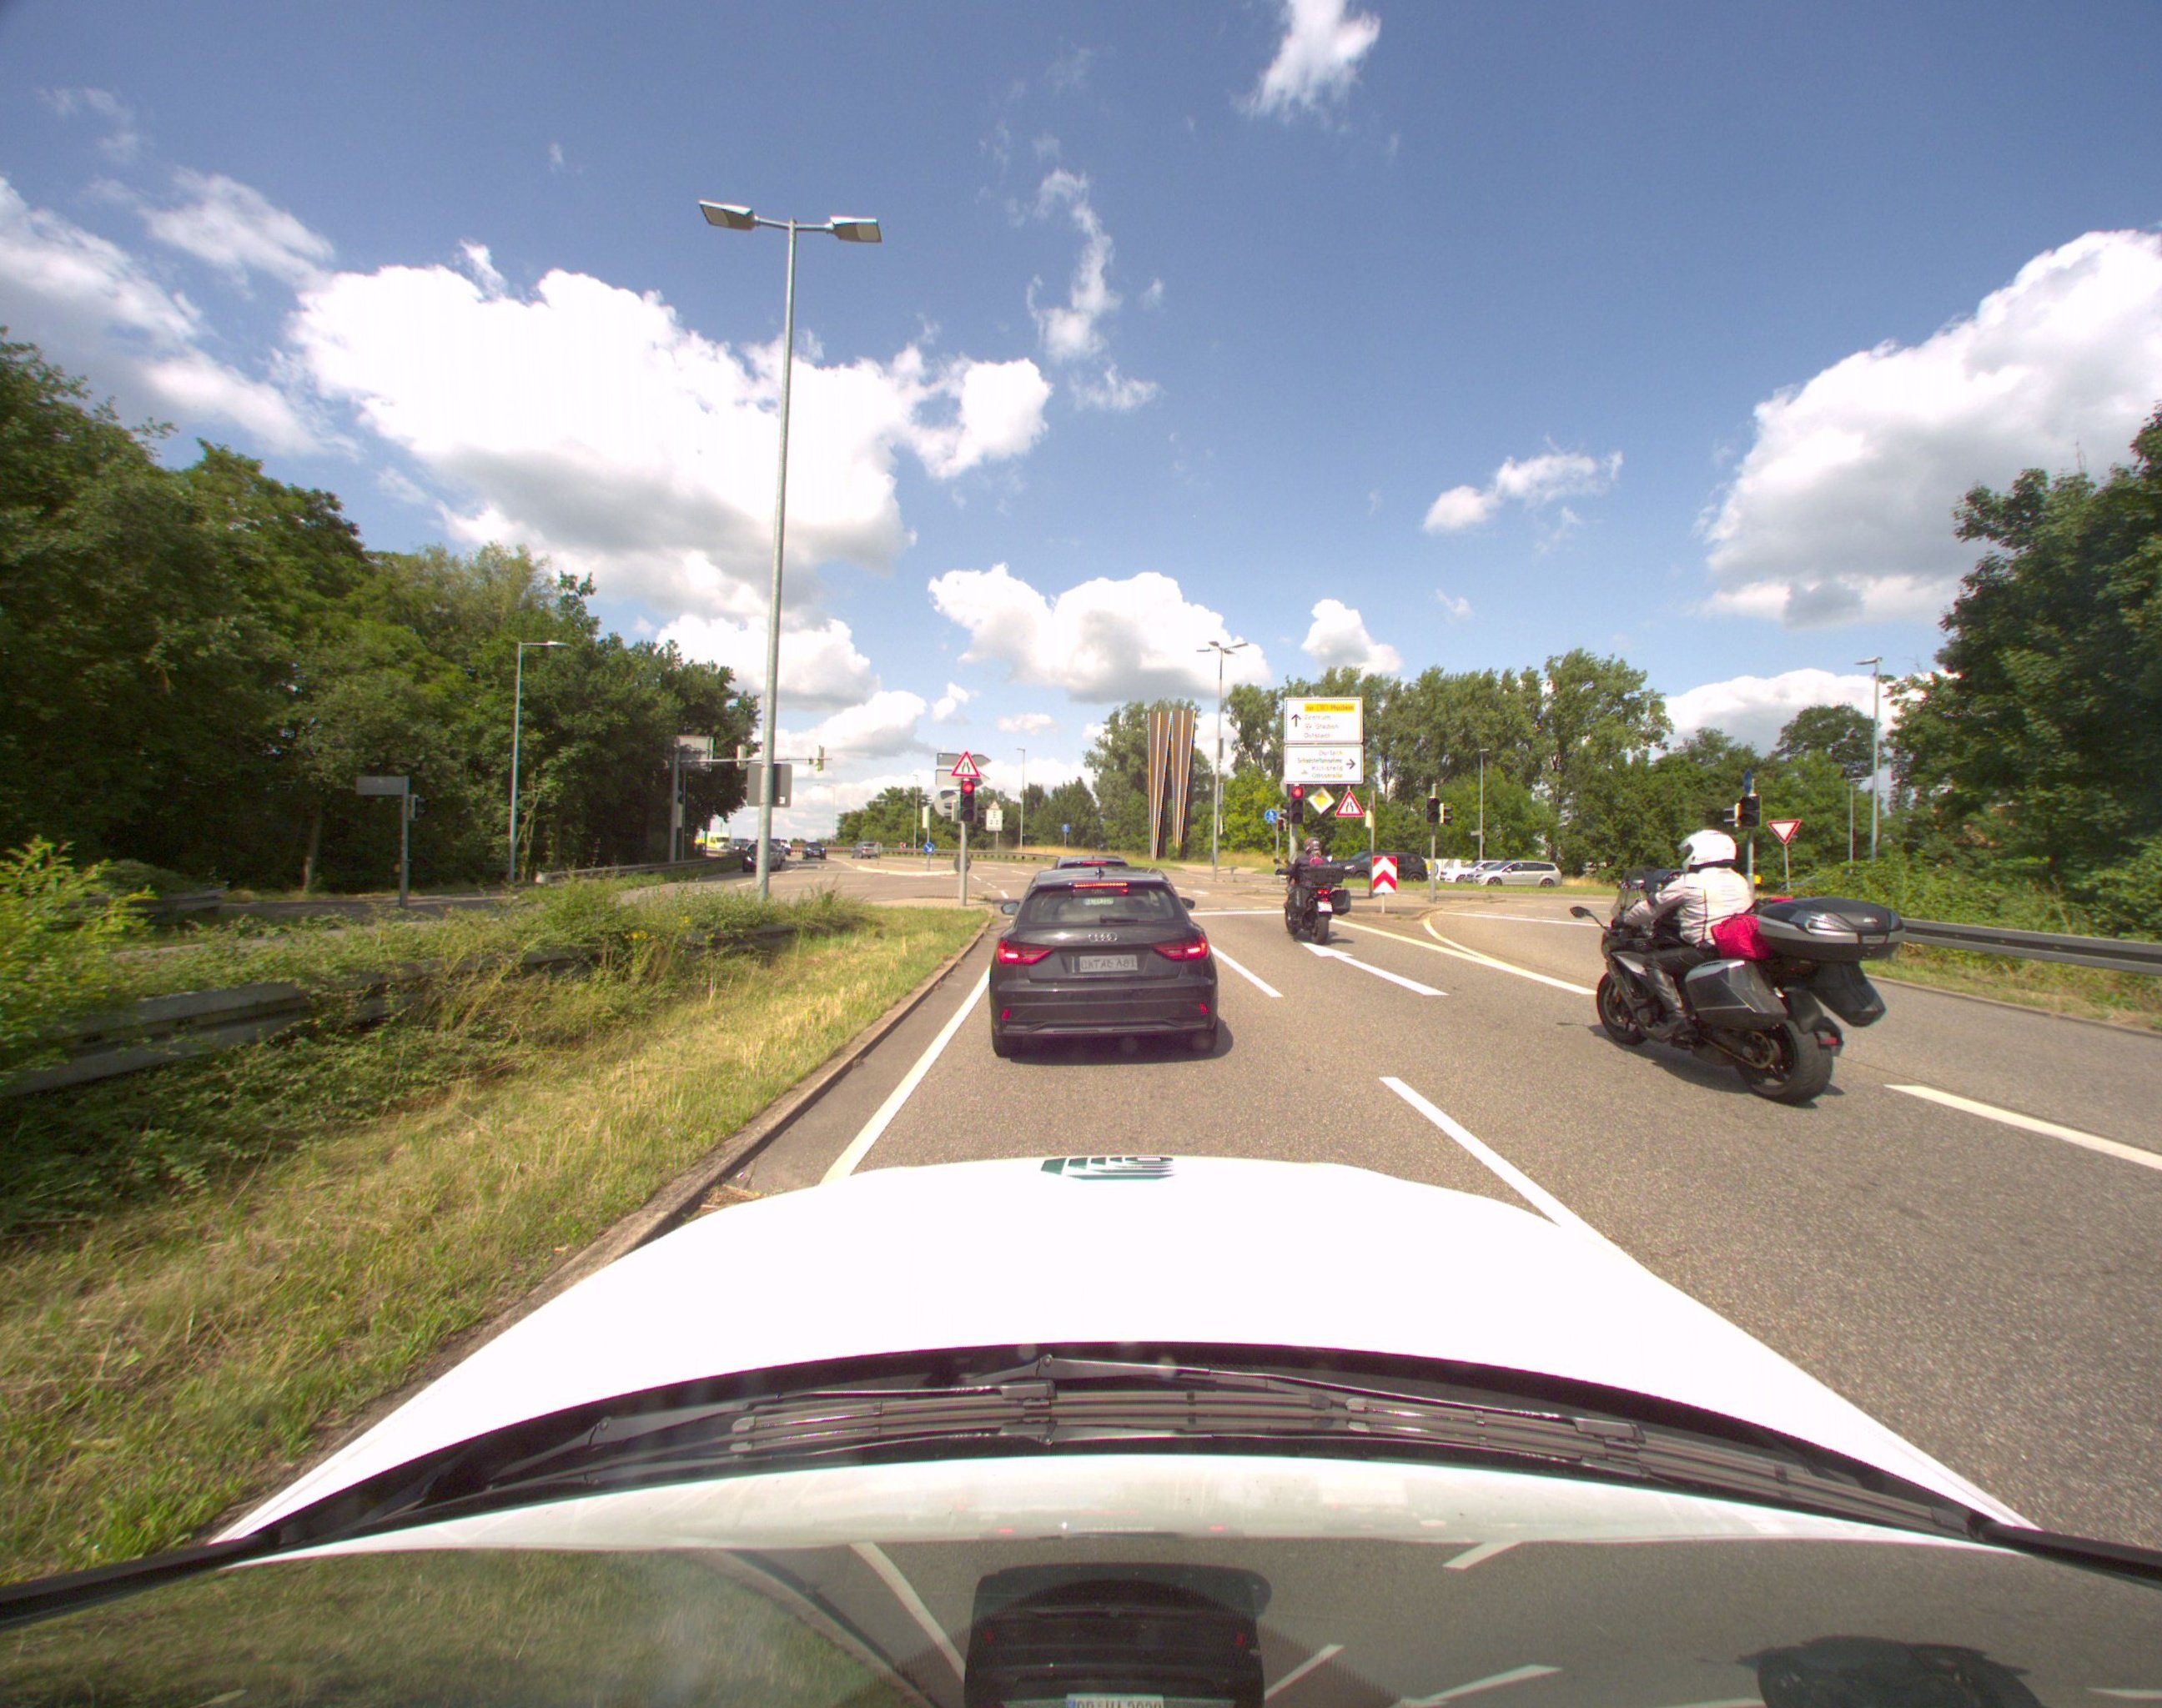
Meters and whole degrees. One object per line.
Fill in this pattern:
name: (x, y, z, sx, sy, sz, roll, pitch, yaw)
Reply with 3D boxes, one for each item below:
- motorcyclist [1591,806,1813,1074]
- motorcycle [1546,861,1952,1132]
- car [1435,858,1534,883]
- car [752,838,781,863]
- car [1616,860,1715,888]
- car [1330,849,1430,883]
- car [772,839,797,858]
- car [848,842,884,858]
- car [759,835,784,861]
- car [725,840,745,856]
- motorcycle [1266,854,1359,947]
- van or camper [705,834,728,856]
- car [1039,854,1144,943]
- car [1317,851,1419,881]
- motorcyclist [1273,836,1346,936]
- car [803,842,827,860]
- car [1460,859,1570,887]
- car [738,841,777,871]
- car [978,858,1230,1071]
motorcyclist: (4.233, 0.542, 5.636, 0.862, 1.700, 0.895, 0, 0, 1)
motorcycle: (4.226, 0.769, 5.516, 0.862, 1.389, 2.371, 0, 0, 2)
car: (21.573, 0.888, 43.631, 4.481, 1.281, 1.736, 1, 0, -2)
car: (-23.194, -0.248, 60.221, 1.849, 1.802, 4.299, 1, 0, -19)
car: (31.547, 1.068, 44.026, 4.212, 1.476, 1.736, 1, 0, -2)
car: (14.525, 0.574, 39.685, 4.253, 1.545, 1.737, 1, 0, 0)
car: (-32.363, -0.629, 88.876, 2.004, 2.013, 4.431, 1, 0, -27)
car: (-19.790, -0.373, 74.726, 2.008, 1.496, 4.076, 1, 0, -34)
car: (-25.747, -0.493, 67.633, 1.850, 2.100, 4.295, 1, 0, -22)
car: (-38.805, -0.647, 91.275, 1.853, 1.705, 4.289, 1, 0, -26)
motorcycle: (3.760, 0.698, 13.459, 0.933, 1.383, 2.371, 0, 0, 2)
van or camper: (-46.547, -1.086, 103.847, 2.006, 2.683, 6.798, 0, 0, -30)
car: (0.105, 0.736, 15.471, 1.722, 1.423, 3.841, -1, 0, -2)
car: (15.283, 0.631, 43.521, 4.831, 1.545, 1.737, 1, 0, 0)
motorcyclist: (3.763, 0.508, 13.486, 0.933, 1.590, 1.084, 0, 0, 1)
car: (-23.510, -0.271, 71.910, 1.738, 1.496, 4.018, 1, 0, -21)
car: (21.113, 0.913, 39.704, 4.460, 1.320, 1.736, 1, 0, -2)
car: (-18.261, 0.131, 46.164, 1.844, 1.618, 3.974, 0, -1, -19)
car: (0.218, 0.779, 7.661, 1.720, 1.404, 4.002, -1, 0, 2)
